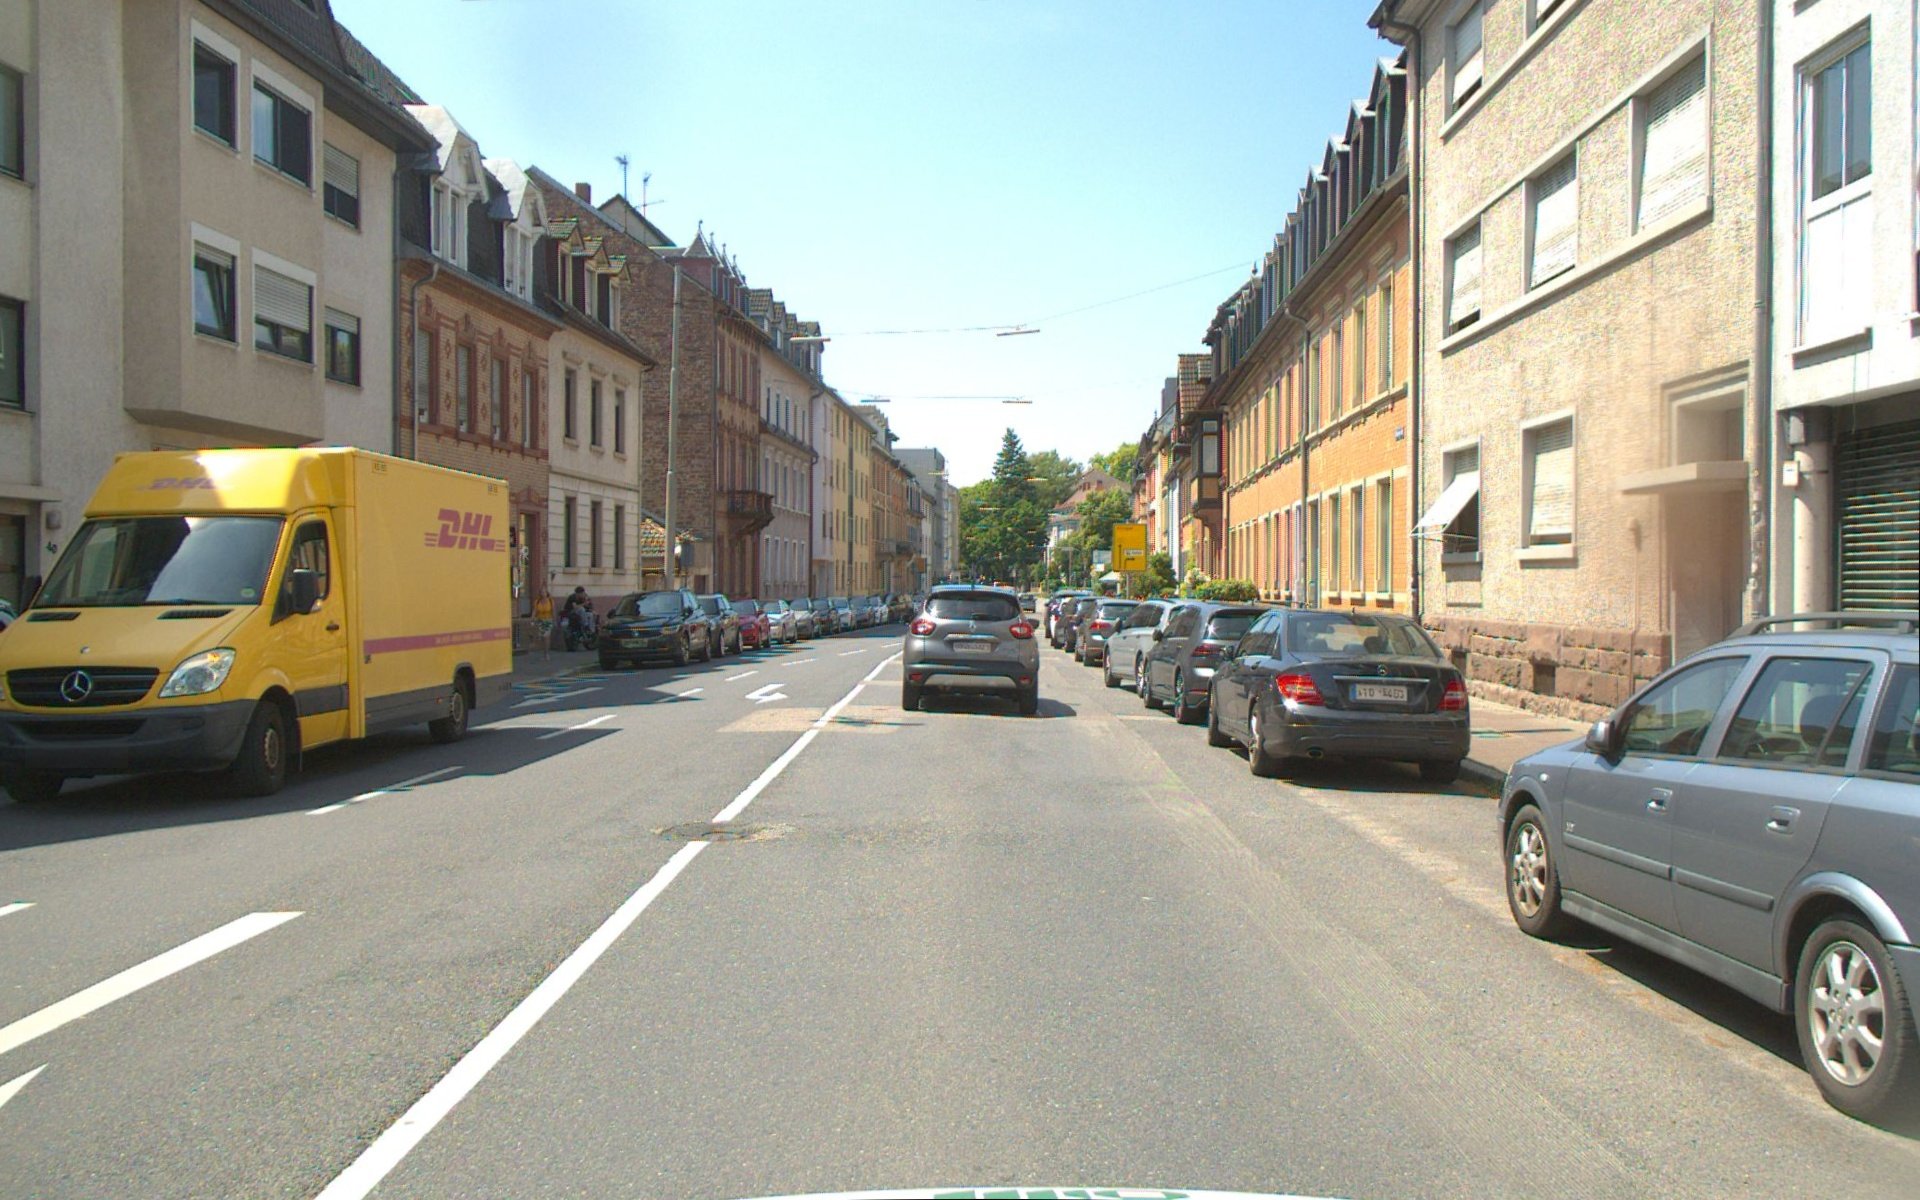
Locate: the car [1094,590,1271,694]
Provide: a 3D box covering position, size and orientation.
[{"bbox_3d":[3.425,0.606,26.327,1.817,1.489,4.545,1,0,-5],"label":"car"}]

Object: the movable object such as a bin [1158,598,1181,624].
[{"bbox_3d":[7.578,0.395,59.923,0.772,0.923,0.539,0,0,0],"label":"movable object such as a bin"}]

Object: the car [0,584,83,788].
[{"bbox_3d":[-8.580,0.667,12.228,1.802,1.623,4.386,2,0,0],"label":"car"}]

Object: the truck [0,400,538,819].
[{"bbox_3d":[-6.026,0.050,15.074,2.179,2.819,7.565,-2,0,1],"label":"truck"}]

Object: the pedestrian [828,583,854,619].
[{"bbox_3d":[-6.003,0.035,83.512,1.127,1.780,0.970,0,0,4],"label":"pedestrian"}]

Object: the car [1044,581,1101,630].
[{"bbox_3d":[4.038,0.190,59.988,1.952,1.691,4.627,0,0,3],"label":"car"}]

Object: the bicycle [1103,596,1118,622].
[{"bbox_3d":[6.460,0.367,71.025,0.581,1.085,1.883,0,0,3],"label":"bicycle"}]

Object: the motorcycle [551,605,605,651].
[{"bbox_3d":[-9.464,0.677,41.021,0.827,1.097,1.872,0,0,2],"label":"motorcycle"}]

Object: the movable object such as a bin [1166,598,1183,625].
[{"bbox_3d":[8.566,0.465,65.994,0.645,1.073,0.749,0,0,4],"label":"movable object such as a bin"}]

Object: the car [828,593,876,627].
[{"bbox_3d":[-4.940,0.437,76.077,1.802,1.447,4.646,-2,0,0],"label":"car"}]

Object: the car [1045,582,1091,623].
[{"bbox_3d":[5.033,0.084,77.484,1.822,1.778,4.618,2,1,0],"label":"car"}]

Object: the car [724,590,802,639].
[{"bbox_3d":[-6.280,0.434,53.179,1.801,1.447,4.503,-2,0,2],"label":"car"}]

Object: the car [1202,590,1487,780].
[{"bbox_3d":[3.371,0.664,15.339,1.676,1.499,4.439,0,0,1],"label":"car"}]

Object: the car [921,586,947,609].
[{"bbox_3d":[-1.980,-0.187,126.930,1.866,1.648,4.302,-2,0,-1],"label":"car"}]

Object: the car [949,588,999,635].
[{"bbox_3d":[0.560,0.415,61.993,1.775,1.649,4.442,-1,0,1],"label":"car"}]

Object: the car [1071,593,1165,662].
[{"bbox_3d":[3.445,0.575,36.711,1.666,1.405,4.166,1,0,0],"label":"car"}]

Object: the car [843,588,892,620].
[{"bbox_3d":[-4.544,0.191,81.851,1.801,1.447,4.560,-3,0,4],"label":"car"}]

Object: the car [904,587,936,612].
[{"bbox_3d":[-2.777,-0.069,115.261,1.865,1.648,4.304,-2,0,2],"label":"car"}]

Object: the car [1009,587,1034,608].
[{"bbox_3d":[4.725,-0.217,126.711,1.726,1.587,3.944,0,0,4],"label":"car"}]

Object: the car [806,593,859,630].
[{"bbox_3d":[-5.379,0.482,70.154,1.802,1.447,4.502,-2,0,0],"label":"car"}]

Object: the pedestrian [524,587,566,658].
[{"bbox_3d":[-9.124,0.484,36.374,0.595,1.521,0.971,1,0,3],"label":"pedestrian"}]

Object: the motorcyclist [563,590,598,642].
[{"bbox_3d":[-9.414,0.387,41.060,0.703,1.270,0.712,0,0,1],"label":"motorcyclist"}]

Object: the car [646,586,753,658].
[{"bbox_3d":[-6.537,0.520,41.983,1.802,1.624,4.503,-3,0,2],"label":"car"}]

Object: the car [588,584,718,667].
[{"bbox_3d":[-6.613,0.519,36.093,1.801,1.624,4.503,-2,0,2],"label":"car"}]

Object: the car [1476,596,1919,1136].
[{"bbox_3d":[3.457,0.758,6.164,1.644,1.480,4.141,2,0,-2],"label":"car"}]

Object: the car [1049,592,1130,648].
[{"bbox_3d":[3.496,0.510,45.428,1.615,1.439,4.498,1,0,-3],"label":"car"}]

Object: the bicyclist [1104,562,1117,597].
[{"bbox_3d":[6.481,-0.876,71.060,0.521,1.495,0.791,0,0,3],"label":"bicyclist"}]

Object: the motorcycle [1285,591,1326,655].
[{"bbox_3d":[6.951,0.455,33.347,0.583,1.246,1.362,0,0,1],"label":"motorcycle"}]

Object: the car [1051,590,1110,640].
[{"bbox_3d":[3.654,0.436,50.830,1.680,1.439,4.591,0,0,3],"label":"car"}]

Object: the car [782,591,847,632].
[{"bbox_3d":[-5.683,0.428,64.904,1.801,1.447,4.504,-4,0,4],"label":"car"}]

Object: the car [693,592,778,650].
[{"bbox_3d":[-6.259,0.557,46.590,1.802,1.447,4.501,-3,0,-1],"label":"car"}]

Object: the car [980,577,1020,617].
[{"bbox_3d":[2.156,-0.161,87.742,1.952,2.049,4.468,-1,0,3],"label":"car"}]

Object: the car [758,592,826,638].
[{"bbox_3d":[-5.951,0.522,59.038,1.802,1.447,4.503,-4,0,1],"label":"car"}]

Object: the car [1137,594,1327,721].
[{"bbox_3d":[3.355,0.662,21.092,1.618,1.445,4.047,0,0,-2],"label":"car"}]

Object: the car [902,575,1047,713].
[{"bbox_3d":[0.106,0.516,22.034,1.709,1.644,3.998,1,0,-3],"label":"car"}]
